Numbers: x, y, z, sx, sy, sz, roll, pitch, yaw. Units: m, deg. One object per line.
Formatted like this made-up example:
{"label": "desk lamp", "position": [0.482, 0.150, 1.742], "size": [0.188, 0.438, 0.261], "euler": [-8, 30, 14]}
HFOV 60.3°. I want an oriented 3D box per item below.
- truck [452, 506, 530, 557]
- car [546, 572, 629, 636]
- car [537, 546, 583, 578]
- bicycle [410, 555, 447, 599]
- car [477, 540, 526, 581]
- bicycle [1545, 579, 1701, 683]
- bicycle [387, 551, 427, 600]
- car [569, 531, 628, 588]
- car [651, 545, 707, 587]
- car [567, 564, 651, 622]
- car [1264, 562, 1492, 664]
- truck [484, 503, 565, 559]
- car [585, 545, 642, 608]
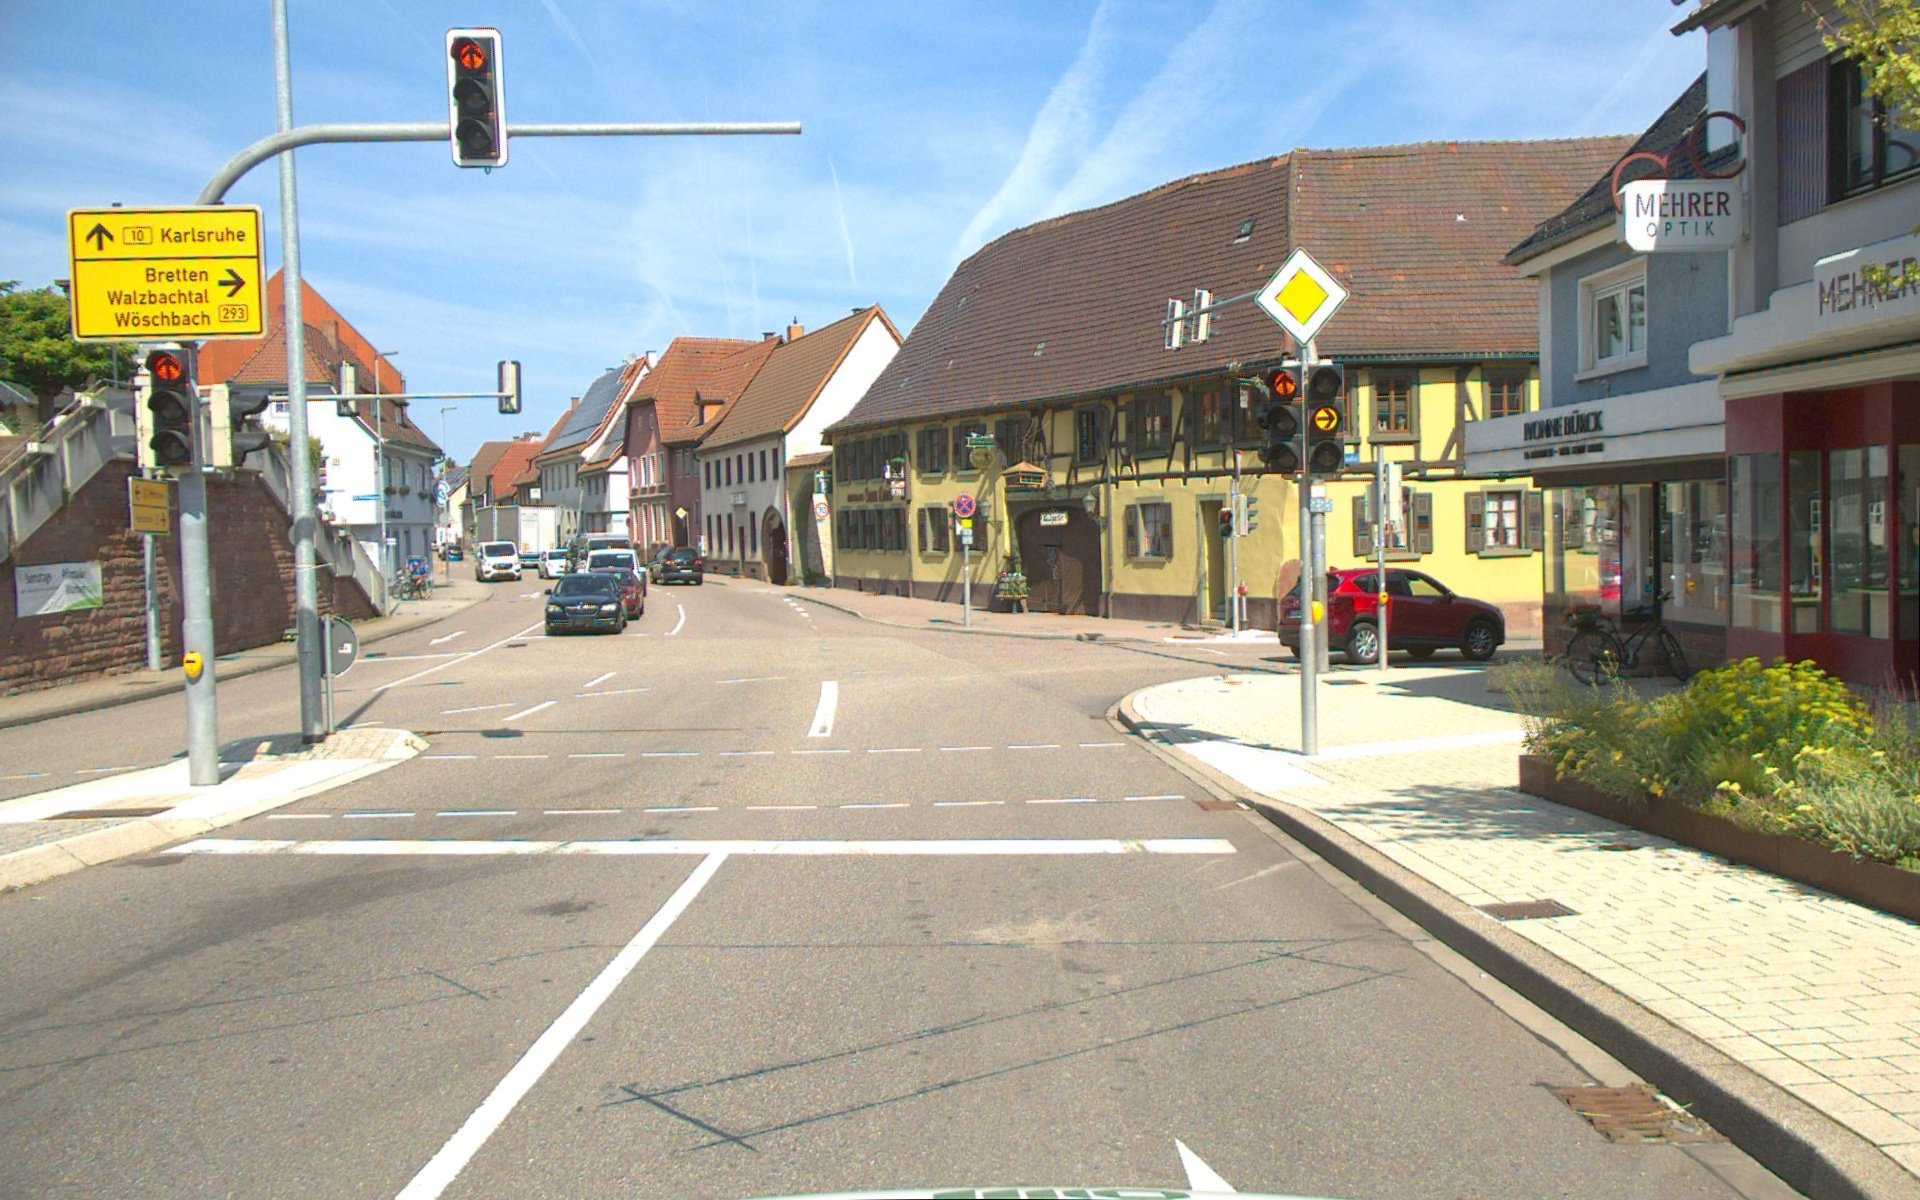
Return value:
{"label": "truck", "position": [-34.223, -4.901, 120.457], "size": [3.125, 3.520, 10.609], "euler": [0, 1, -29]}
{"label": "car", "position": [-9.496, 0.058, 42.399], "size": [1.787, 1.459, 4.240], "euler": [-1, 2, -9]}
{"label": "car", "position": [-20.755, -1.996, 85.744], "size": [1.761, 1.552, 3.980], "euler": [-3, 3, -21]}
{"label": "bicycle", "position": [-20.127, -0.879, 62.685], "size": [0.546, 1.635, 2.563], "euler": [1, 1, 0]}
{"label": "car", "position": [-23.946, -2.086, 86.245], "size": [2.105, 2.000, 5.249], "euler": [-2, 2, -19]}
{"label": "bicycle", "position": [8.541, 0.392, 21.333], "size": [1.766, 1.256, 0.549], "euler": [-2, 1, -1]}
{"label": "bicycle", "position": [-21.096, -0.946, 63.157], "size": [0.628, 1.810, 2.670], "euler": [1, 1, 0]}
{"label": "car", "position": [-15.356, -1.730, 70.108], "size": [1.733, 2.285, 4.524], "euler": [0, 2, -21]}
{"label": "car", "position": [-12.589, -1.560, 73.873], "size": [1.793, 1.768, 3.984], "euler": [-3, 3, -19]}
{"label": "car", "position": [-10.422, -0.258, 49.447], "size": [2.119, 1.541, 4.939], "euler": [-1, 2, -8]}
{"label": "car", "position": [7.549, 0.198, 29.836], "size": [3.754, 1.692, 1.795], "euler": [-1, 1, -27]}
{"label": "truck", "position": [-29.498, -4.627, 111.712], "size": [3.187, 3.611, 9.145], "euler": [0, 2, -28]}
{"label": "car", "position": [-11.798, -0.850, 56.428], "size": [1.788, 1.939, 4.951], "euler": [-2, 3, -12]}
